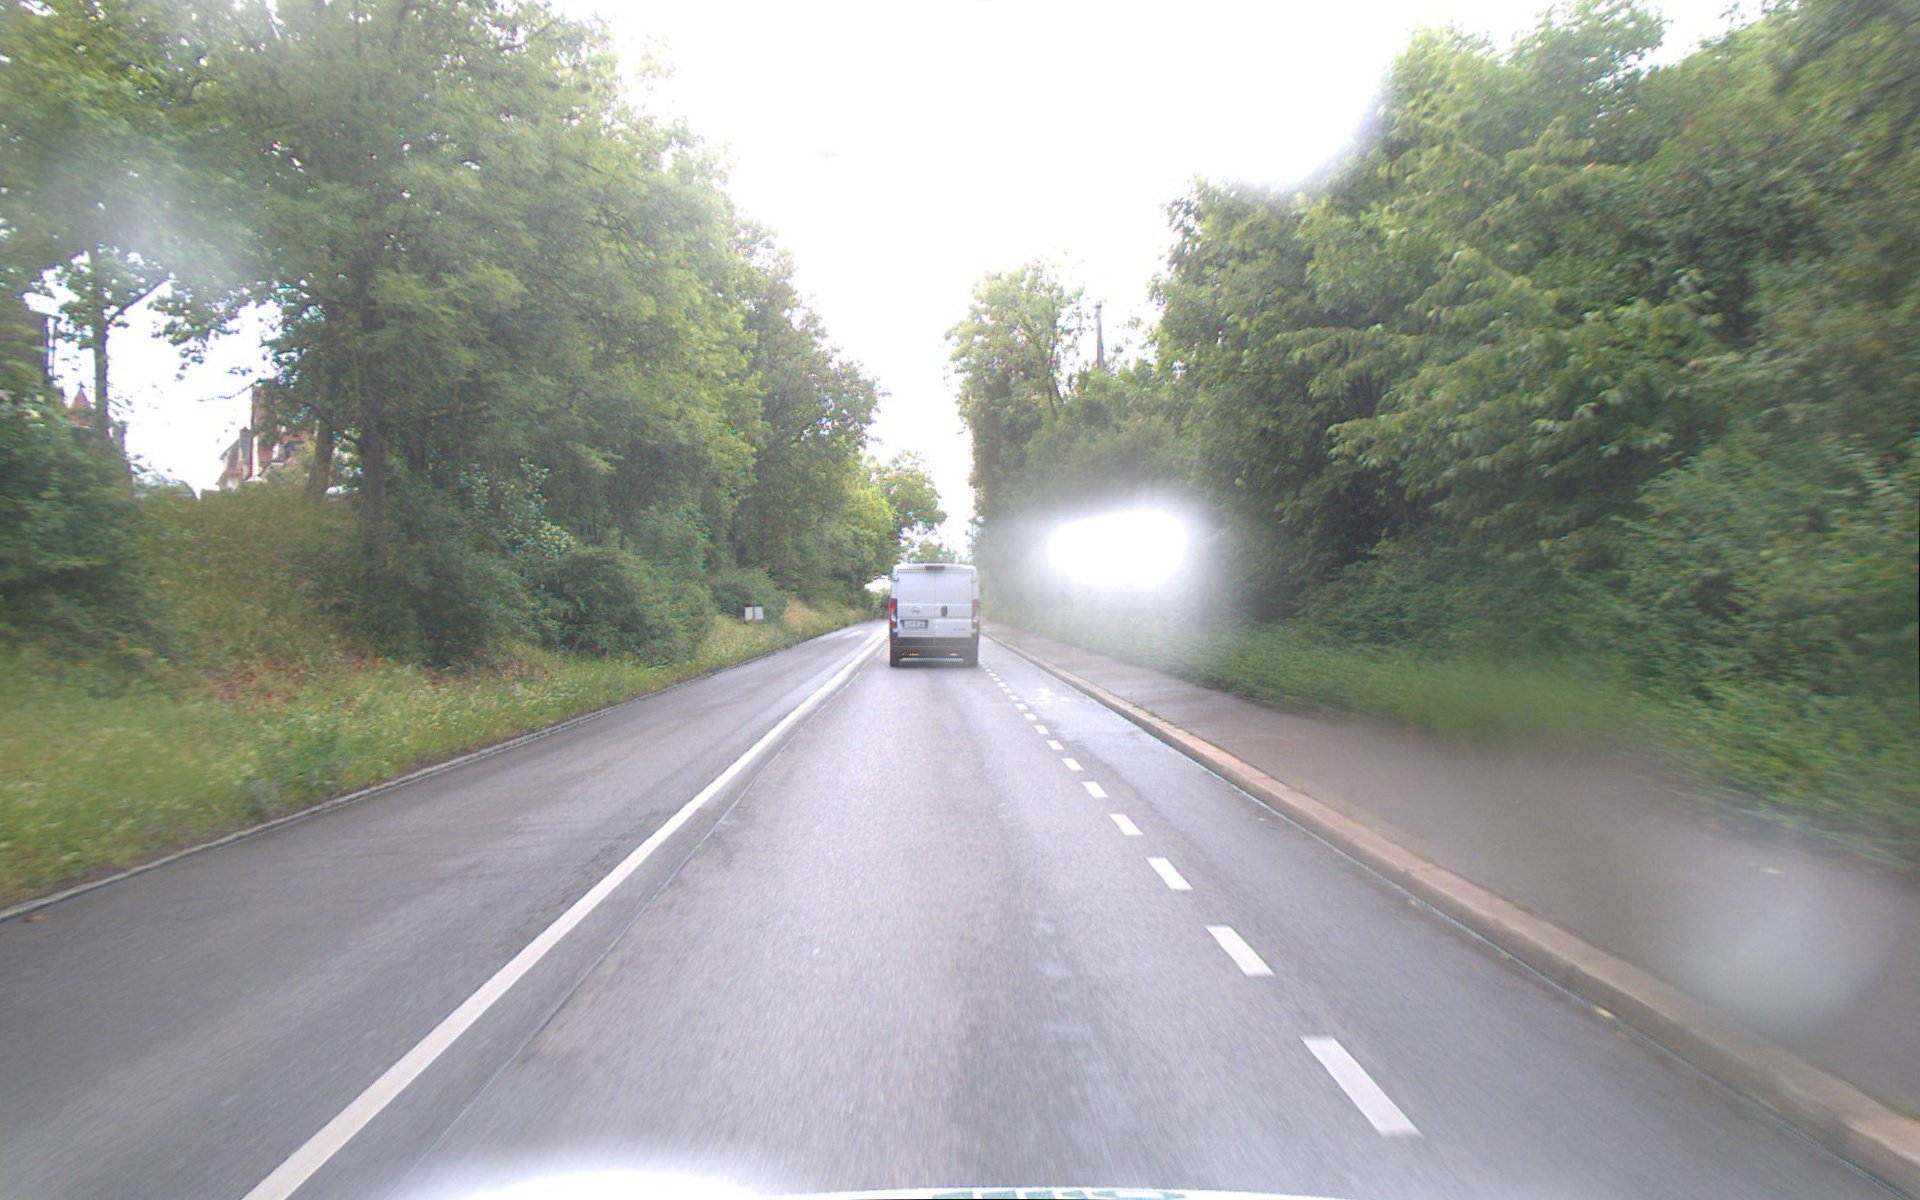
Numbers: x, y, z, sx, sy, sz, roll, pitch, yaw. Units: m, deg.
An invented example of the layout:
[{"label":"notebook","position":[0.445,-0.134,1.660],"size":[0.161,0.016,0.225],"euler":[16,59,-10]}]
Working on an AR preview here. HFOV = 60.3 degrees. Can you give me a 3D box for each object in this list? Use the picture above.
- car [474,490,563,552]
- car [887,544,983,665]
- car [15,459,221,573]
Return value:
[{"label":"car","position":[-12.898,-2.292,48.488],"size":[1.716,1.691,3.443],"euler":[-1,2,-1]},{"label":"car","position":[-0.577,0.077,38.400],"size":[2.008,2.560,4.943],"euler":[2,0,-1]},{"label":"car","position":[-13.029,-1.249,25.796],"size":[1.521,1.465,3.377],"euler":[-1,-2,-1]}]
